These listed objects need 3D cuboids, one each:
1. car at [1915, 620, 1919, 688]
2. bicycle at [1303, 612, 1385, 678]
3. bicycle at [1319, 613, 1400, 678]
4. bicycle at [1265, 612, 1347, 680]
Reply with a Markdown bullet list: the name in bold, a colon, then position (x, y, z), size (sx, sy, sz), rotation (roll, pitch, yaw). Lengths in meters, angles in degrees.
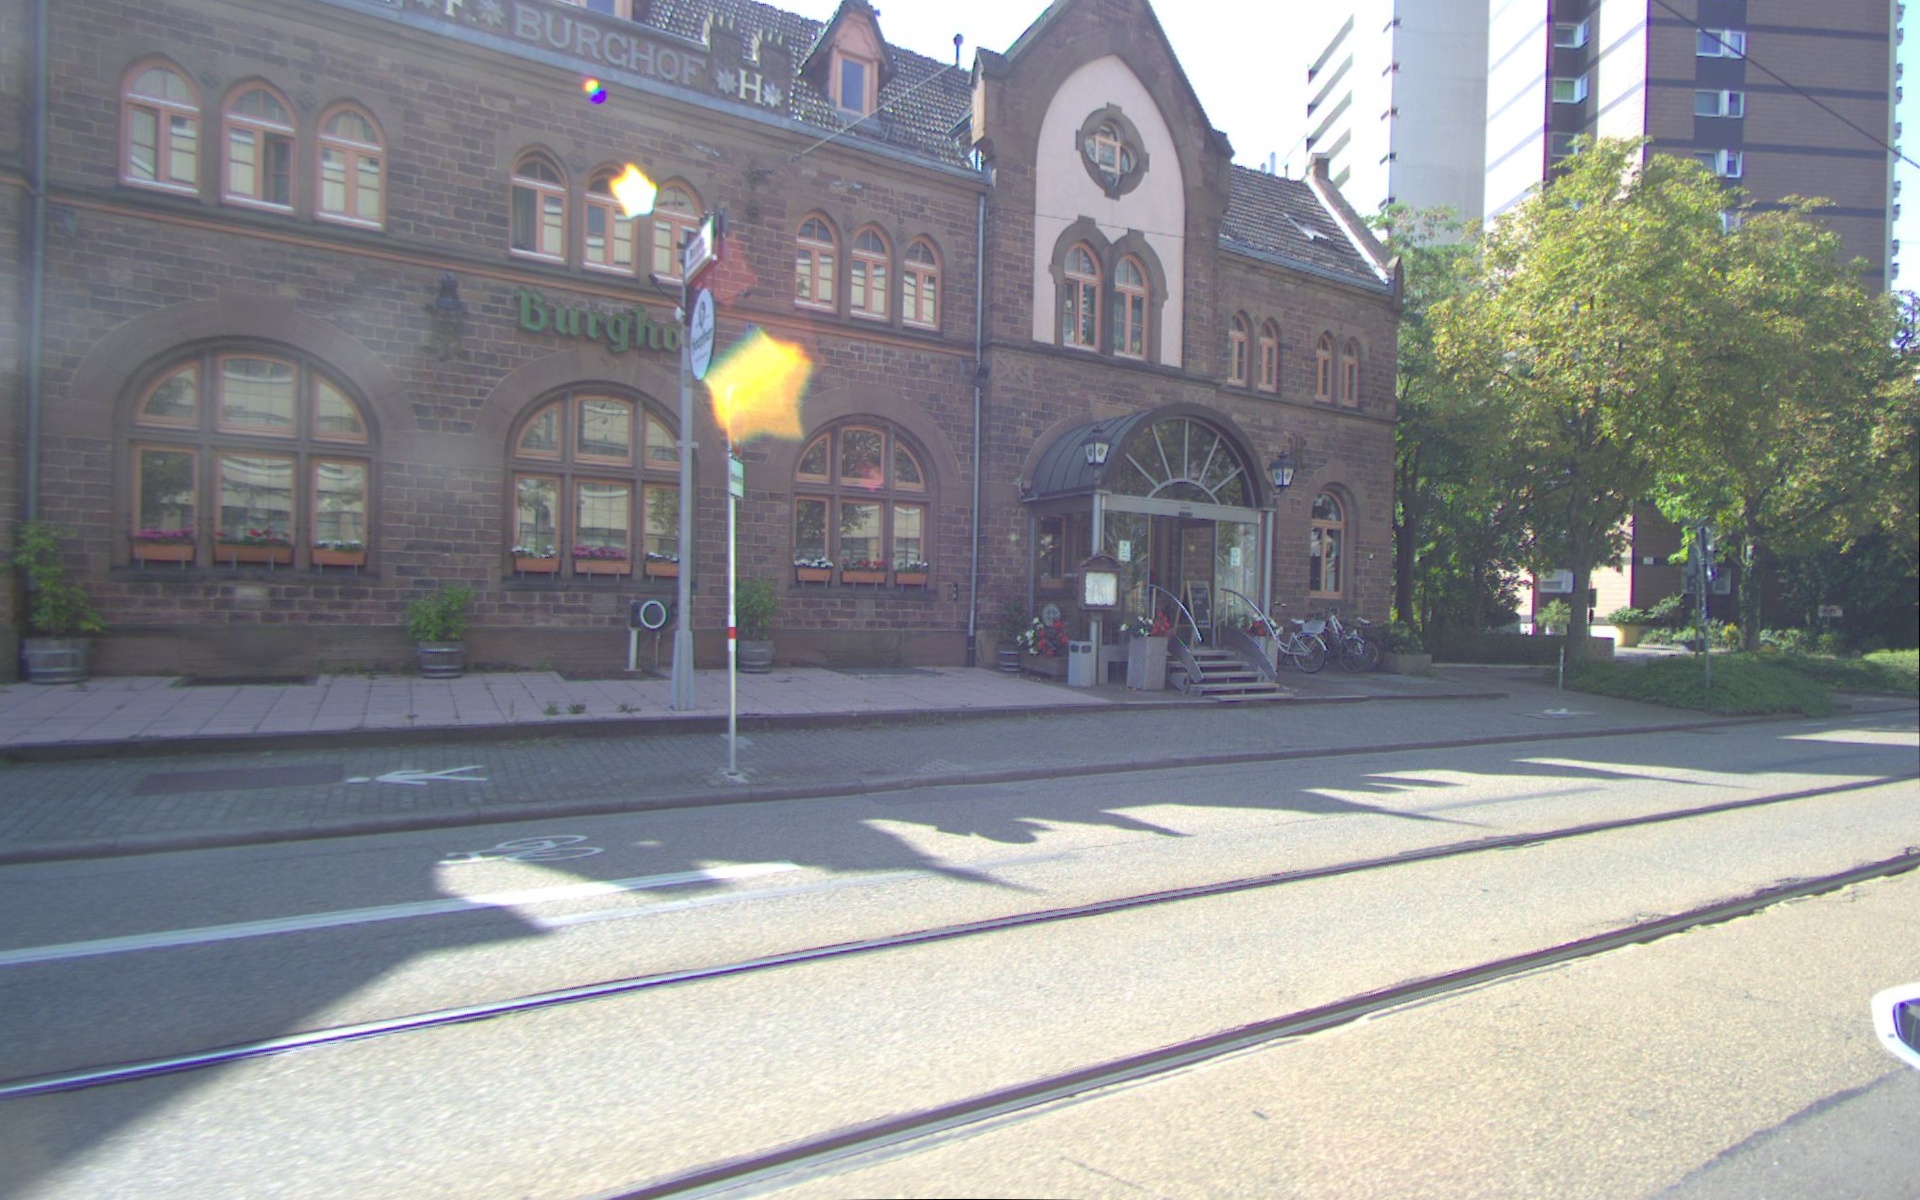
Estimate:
- **car**: position (25.680, 1.454, 24.893), size (1.720, 1.820, 3.996), rotation (2, 0, 26)
- **bicycle**: position (7.371, 0.855, 19.336), size (0.395, 1.108, 1.442), rotation (1, 4, -33)
- **bicycle**: position (7.755, 0.865, 19.563), size (0.395, 1.108, 1.442), rotation (1, 4, -33)
- **bicycle**: position (6.438, 0.831, 18.728), size (0.395, 1.108, 1.442), rotation (1, 4, -33)
